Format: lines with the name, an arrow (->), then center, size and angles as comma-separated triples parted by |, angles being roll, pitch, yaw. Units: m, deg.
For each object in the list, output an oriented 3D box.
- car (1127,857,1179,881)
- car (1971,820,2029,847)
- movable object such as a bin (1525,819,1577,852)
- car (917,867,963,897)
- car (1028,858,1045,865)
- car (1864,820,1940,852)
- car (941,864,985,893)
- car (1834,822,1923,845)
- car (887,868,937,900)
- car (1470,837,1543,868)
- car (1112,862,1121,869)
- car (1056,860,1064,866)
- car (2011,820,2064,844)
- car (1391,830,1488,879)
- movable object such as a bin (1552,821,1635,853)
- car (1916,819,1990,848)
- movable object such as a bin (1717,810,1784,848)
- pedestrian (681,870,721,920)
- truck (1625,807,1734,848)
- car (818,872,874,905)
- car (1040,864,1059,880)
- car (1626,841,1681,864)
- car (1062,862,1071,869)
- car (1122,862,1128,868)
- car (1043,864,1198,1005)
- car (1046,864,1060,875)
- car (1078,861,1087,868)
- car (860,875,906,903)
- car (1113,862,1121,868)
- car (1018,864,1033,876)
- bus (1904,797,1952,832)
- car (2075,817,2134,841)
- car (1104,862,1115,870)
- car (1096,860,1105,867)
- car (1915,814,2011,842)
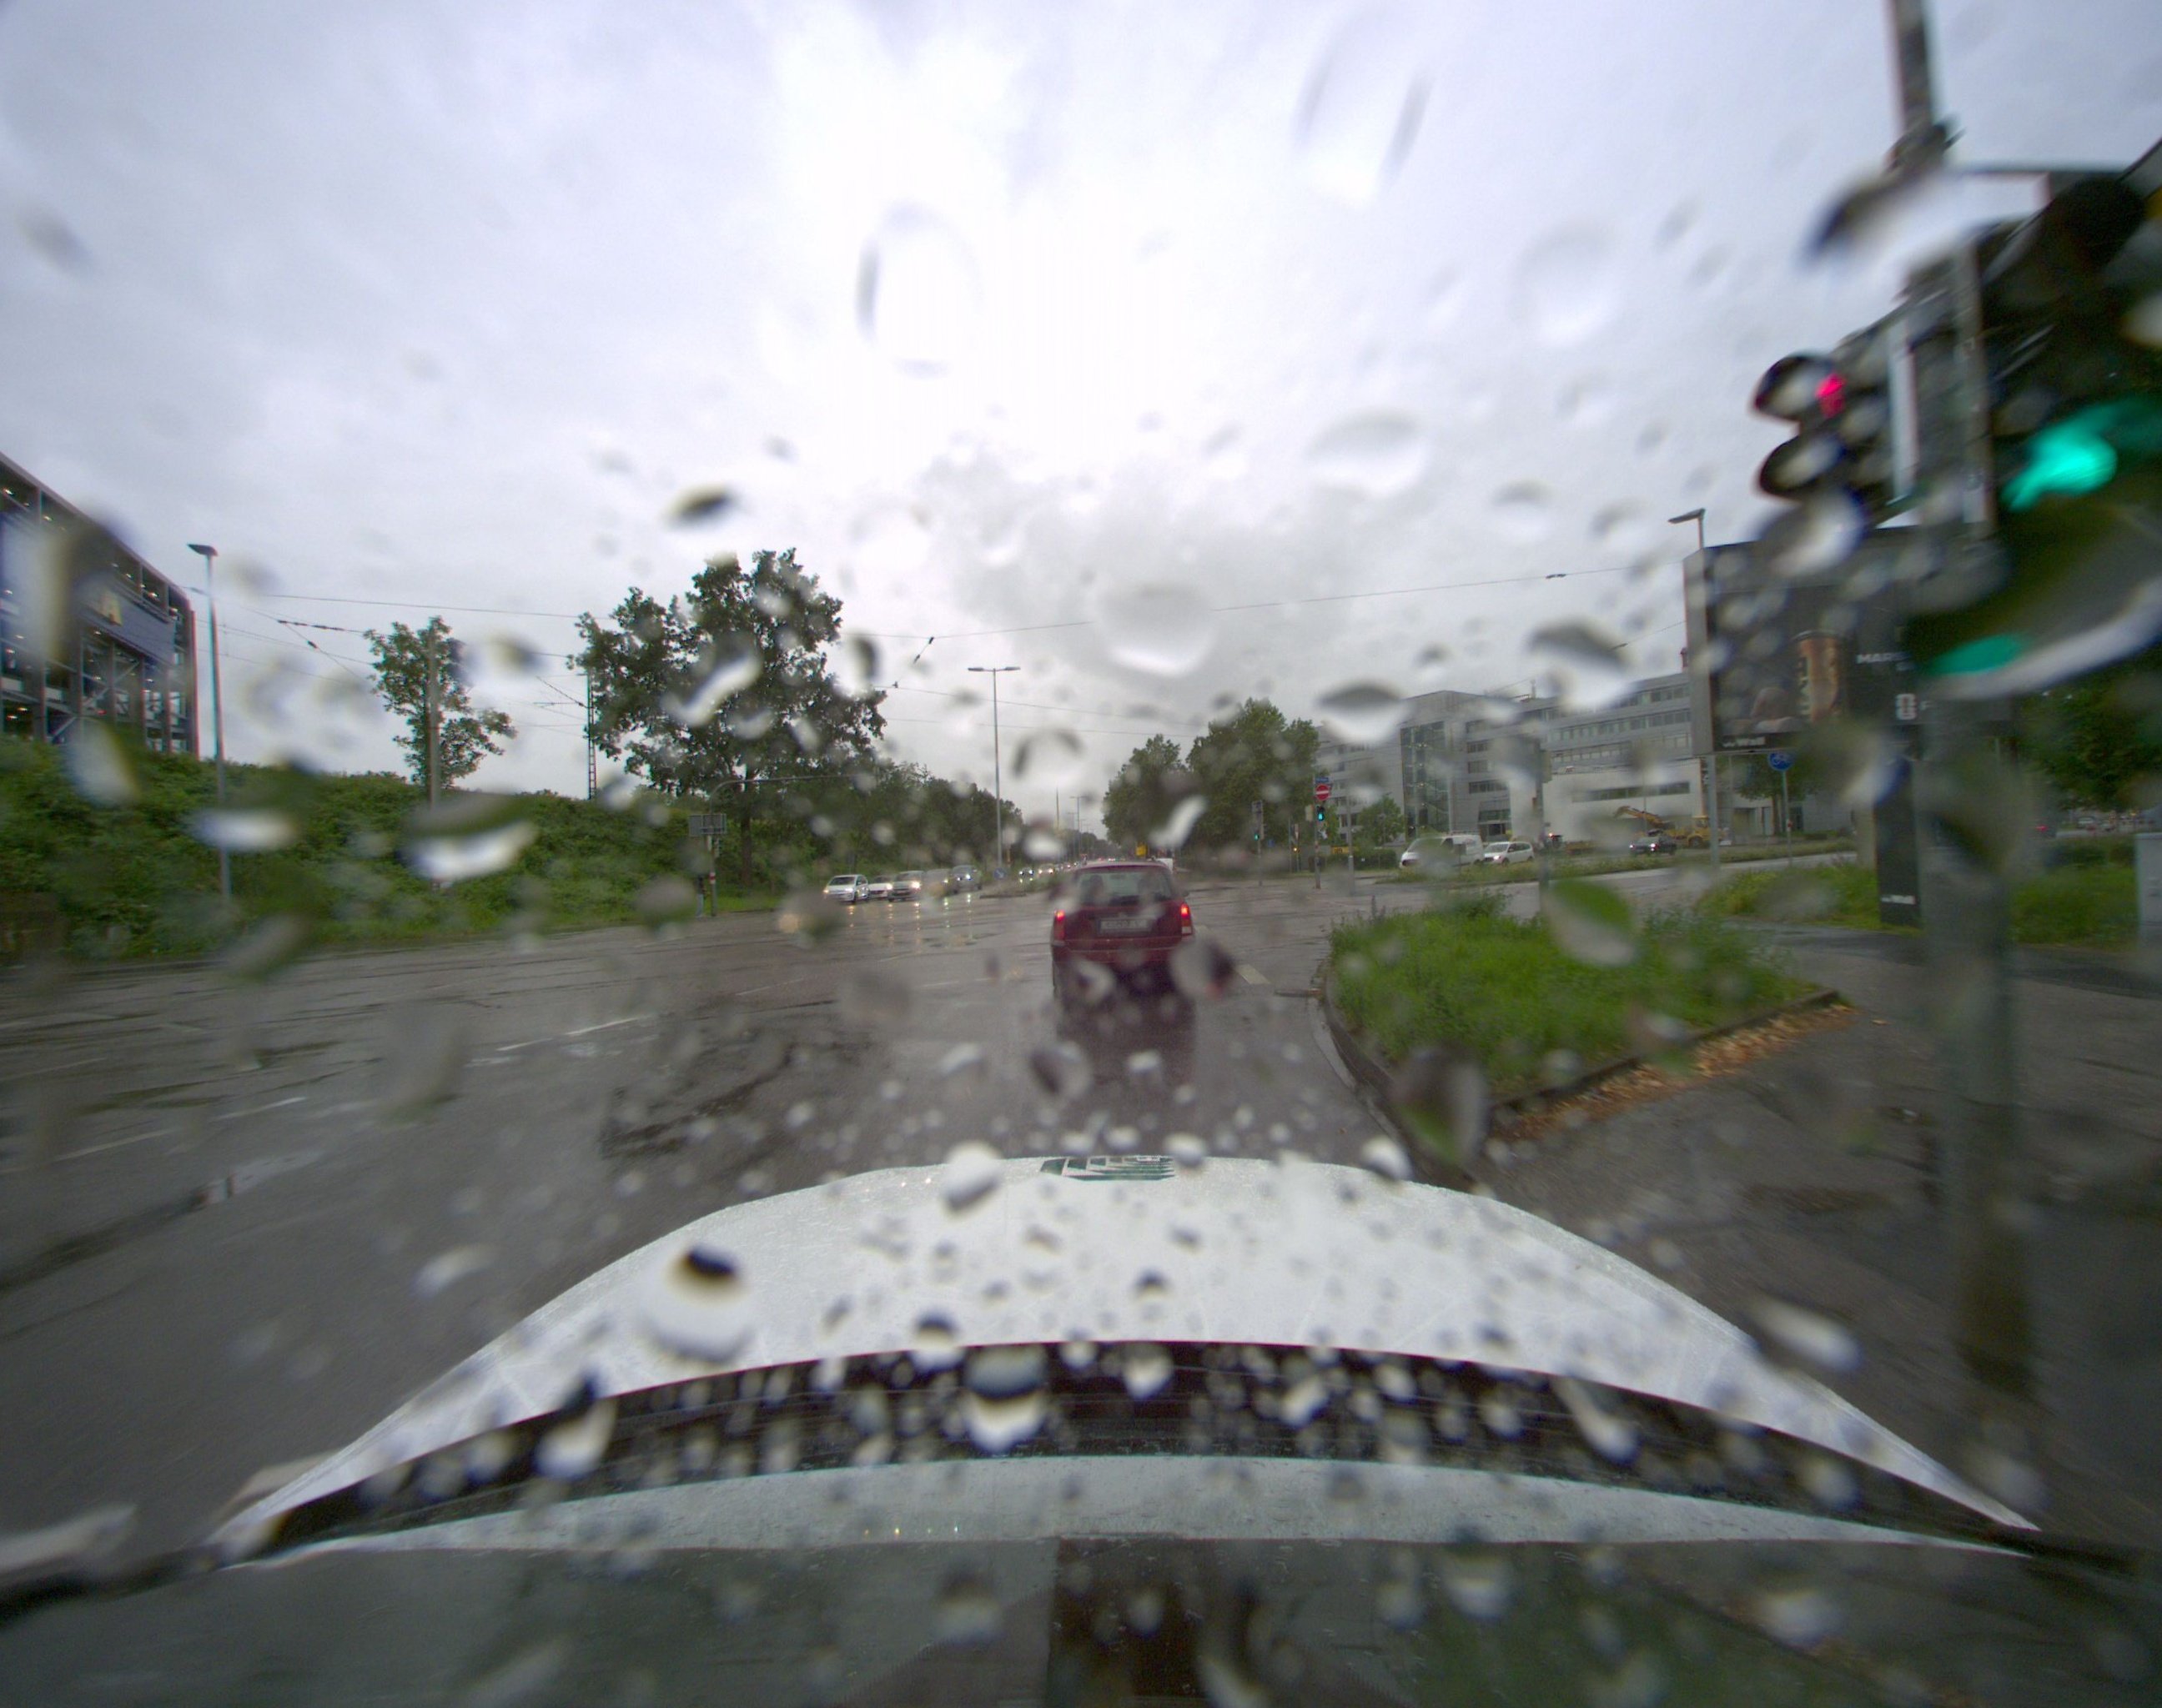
car -> 5.475, 1.145, 62.411 | 1.747, 1.726, 4.200 | -1, -1, -32
car -> 61.061, -1.362, 54.071 | 4.644, 1.586, 1.907 | -1, -2, -34
movable object such as a bin -> 47.522, -1.856, 82.320 | 3.341, 2.996, 3.296 | -2, -1, -34
car -> -8.443, 1.658, 49.121 | 1.756, 1.586, 4.814 | -3, -1, 1
car -> -12.522, 2.168, 229.914 | 4.300, 1.597, 1.949 | -3, -1, -33
car -> 40.746, -0.874, 40.409 | 3.827, 1.491, 1.662 | -1, -1, -29
car -> -8.244, 1.665, 57.248 | 2.058, 1.819, 5.543 | -3, -1, 2
car -> 66.903, -1.692, 68.453 | 1.886, 1.655, 5.013 | 0, -1, -29
car -> -8.695, 1.502, 42.149 | 1.632, 1.473, 3.965 | -3, -1, 1
car -> 25.217, -0.102, 48.215 | 4.397, 1.621, 1.758 | -2, -1, -32
car -> 7.839, 2.498, 179.612 | 1.690, 1.528, 3.849 | -2, -1, 4
car -> -6.009, 2.499, 231.951 | 1.956, 1.597, 4.285 | -3, -1, 1
car -> 70.799, -1.622, 60.253 | 4.643, 1.586, 1.907 | -2, -1, -33
car -> 17.067, 0.011, 38.702 | 4.708, 2.125, 1.978 | -2, -1, -35
movable object such as a bin -> 54.630, -1.803, 86.938 | 3.341, 2.996, 6.651 | -2, -1, -33
car -> 50.028, -1.188, 46.700 | 4.846, 1.491, 1.908 | -2, -1, -32
movable object such as a bin -> 67.637, -2.491, 82.240 | 6.345, 3.507, 3.294 | -2, -1, -33
pedestrian -> -14.896, 1.590, 31.946 | 1.102, 1.847, 1.127 | -2, -1, -9
truck -> 58.730, -2.531, 80.102 | 3.341, 3.507, 7.808 | -2, -1, -33
car -> -11.841, 1.699, 41.195 | 1.633, 1.452, 3.787 | -3, -1, 0
car -> -3.492, 1.986, 91.132 | 1.737, 1.702, 4.285 | -4, -1, 1
car -> 43.648, -0.118, 62.061 | 4.664, 1.524, 1.781 | -2, -1, -33
car -> -3.432, 2.785, 194.034 | 1.956, 1.597, 4.285 | -3, -1, 1
car -> 11.460, 2.818, 211.783 | 1.663, 1.528, 3.850 | -2, -1, 4
car -> 0.473, 0.877, 10.483 | 1.636, 1.465, 3.734 | 0, 0, 2
car -> -4.694, 2.643, 138.030 | 1.956, 1.702, 4.285 | -3, -1, 1
car -> 0.473, 2.757, 210.229 | 1.955, 1.597, 4.286 | -3, -1, 2
car -> -11.499, 2.021, 47.597 | 1.585, 1.404, 3.824 | -3, -1, 2
car -> 9.543, 2.919, 215.985 | 1.662, 1.528, 3.852 | -3, -1, 6
car -> -8.060, 2.280, 118.693 | 1.737, 1.702, 4.285 | 0, -1, 2
bus -> 80.811, -3.729, 77.672 | 8.574, 3.036, 2.498 | -2, -1, -40
car -> 70.875, -1.716, 56.370 | 4.846, 1.491, 1.908 | -2, -1, -32
car -> 6.077, 2.617, 173.466 | 2.137, 1.528, 4.198 | -3, -1, 5
car -> 4.524, 2.275, 188.234 | 1.690, 1.528, 3.850 | -3, -1, 4
car -> 73.850, -2.127, 68.314 | 5.297, 2.014, 2.012 | -1, -2, 44
